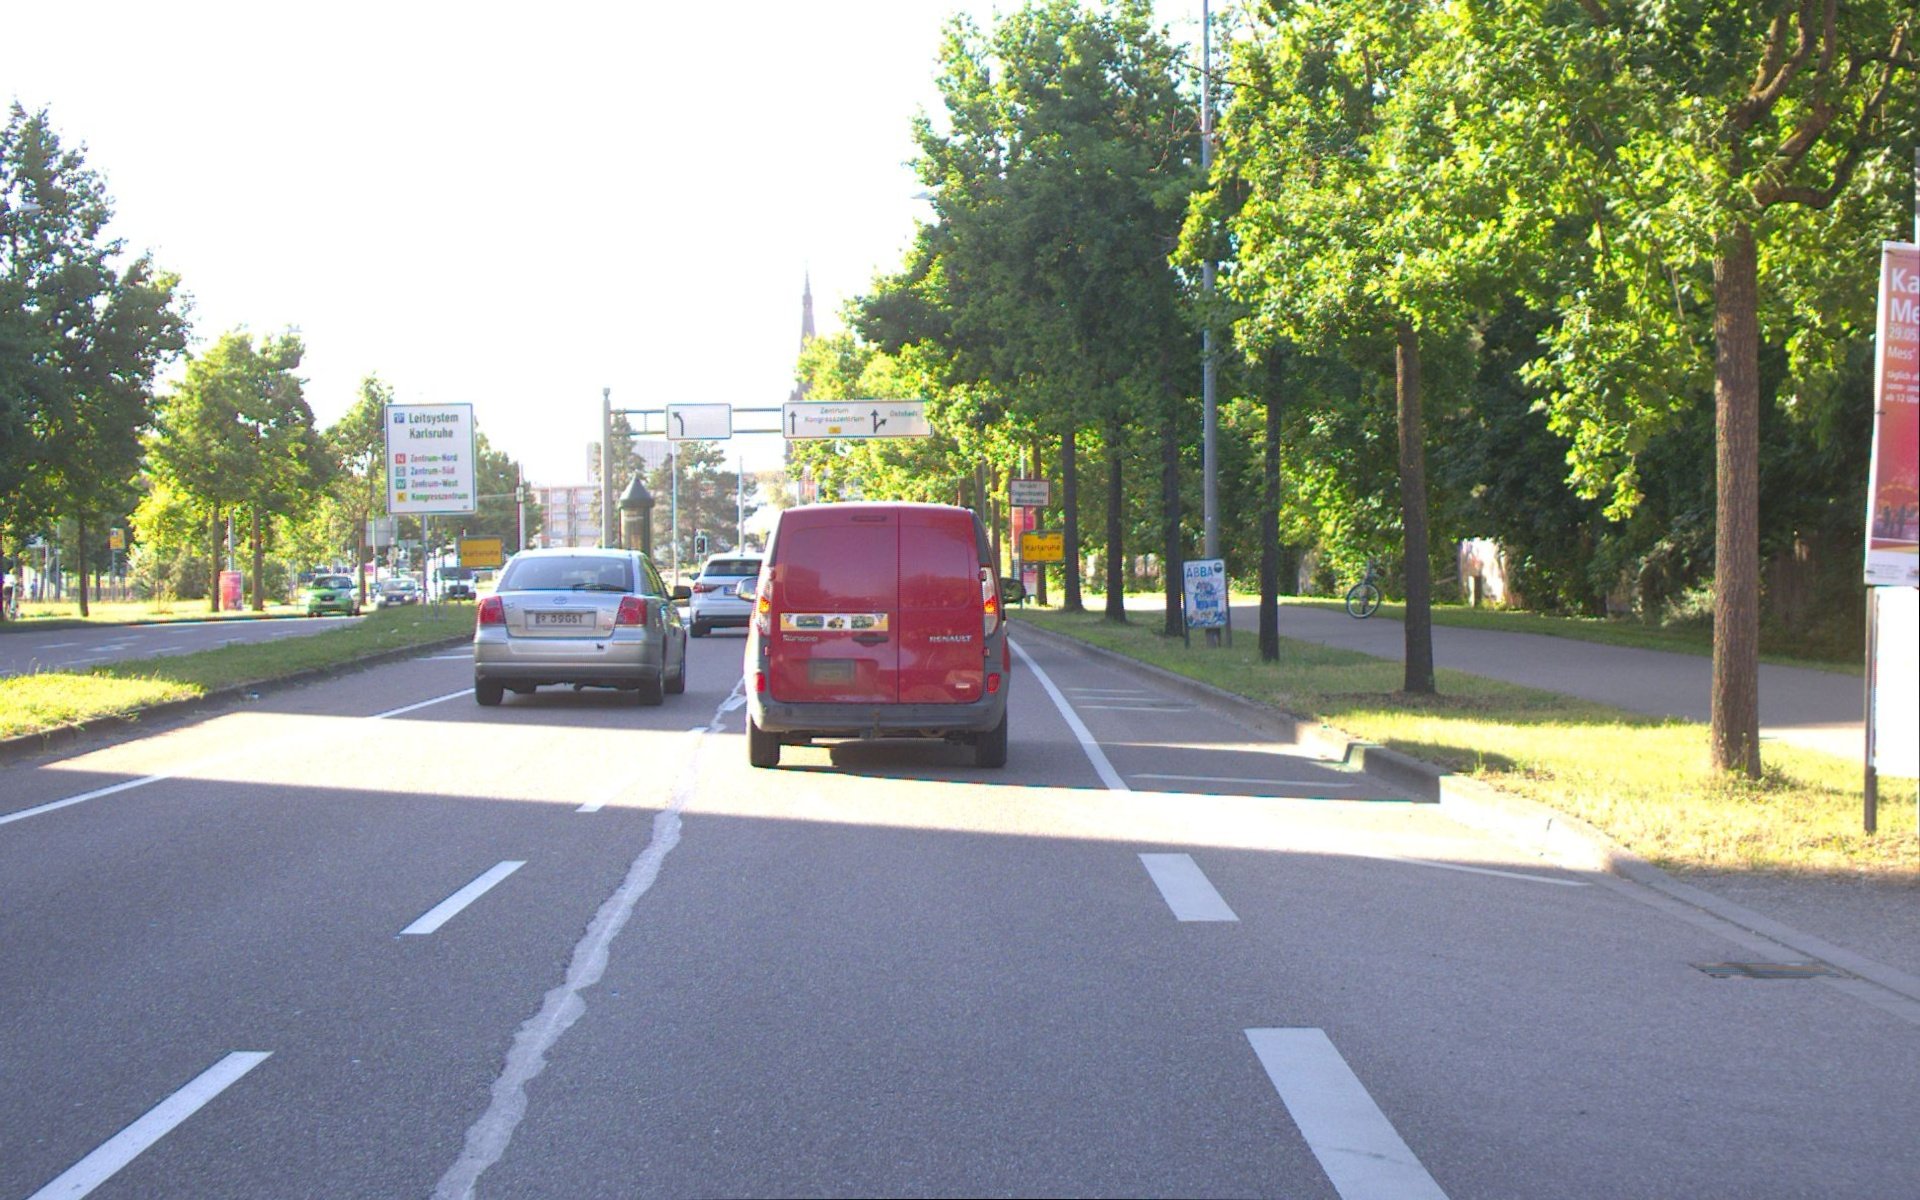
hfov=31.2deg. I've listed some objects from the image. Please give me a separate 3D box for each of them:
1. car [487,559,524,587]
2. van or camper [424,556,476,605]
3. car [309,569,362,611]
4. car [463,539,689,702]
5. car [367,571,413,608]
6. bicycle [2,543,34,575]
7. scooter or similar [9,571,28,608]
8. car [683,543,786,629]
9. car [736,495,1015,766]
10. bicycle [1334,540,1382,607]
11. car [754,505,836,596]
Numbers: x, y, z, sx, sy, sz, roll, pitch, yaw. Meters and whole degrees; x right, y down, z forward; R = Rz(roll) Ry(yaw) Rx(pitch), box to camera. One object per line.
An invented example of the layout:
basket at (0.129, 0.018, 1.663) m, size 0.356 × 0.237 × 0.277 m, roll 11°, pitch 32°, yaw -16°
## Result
car at (-24.111, -1.445, 182.542) m, size 1.688 × 1.471 × 4.050 m, roll -1°, pitch 1°, yaw -4°
van or camper at (-26.528, -1.039, 178.939) m, size 1.993 × 2.360 × 5.994 m, roll -2°, pitch 1°, yaw -3°
car at (-22.332, -0.372, 122.989) m, size 1.446 × 1.431 × 3.460 m, roll -1°, pitch 1°, yaw -4°
car at (-3.612, 0.150, 32.950) m, size 1.841 × 1.451 × 4.163 m, roll 0°, pitch 1°, yaw -2°
car at (-24.451, -0.475, 147.588) m, size 1.550 × 1.503 × 4.027 m, roll -1°, pitch 1°, yaw -4°
bicycle at (-29.902, -1.288, 109.154) m, size 0.570 × 1.000 × 2.096 m, roll -1°, pitch 0°, yaw -3°
scooter or similar at (-29.275, -0.317, 106.893) m, size 0.231 × 1.145 × 1.328 m, roll -1°, pitch 0°, yaw -2°
car at (-3.823, -0.260, 58.592) m, size 1.661 × 1.393 × 3.559 m, roll -1°, pitch 1°, yaw -3°
car at (-0.643, 0.169, 24.347) m, size 1.806 × 1.753 × 4.006 m, roll 0°, pitch 1°, yaw -3°
bicycle at (6.850, -0.463, 59.171) m, size 0.774 × 1.127 × 1.708 m, roll -1°, pitch 1°, yaw 6°
car at (-3.464, -1.040, 72.253) m, size 1.661 × 1.850 × 3.559 m, roll -1°, pitch 1°, yaw -3°
